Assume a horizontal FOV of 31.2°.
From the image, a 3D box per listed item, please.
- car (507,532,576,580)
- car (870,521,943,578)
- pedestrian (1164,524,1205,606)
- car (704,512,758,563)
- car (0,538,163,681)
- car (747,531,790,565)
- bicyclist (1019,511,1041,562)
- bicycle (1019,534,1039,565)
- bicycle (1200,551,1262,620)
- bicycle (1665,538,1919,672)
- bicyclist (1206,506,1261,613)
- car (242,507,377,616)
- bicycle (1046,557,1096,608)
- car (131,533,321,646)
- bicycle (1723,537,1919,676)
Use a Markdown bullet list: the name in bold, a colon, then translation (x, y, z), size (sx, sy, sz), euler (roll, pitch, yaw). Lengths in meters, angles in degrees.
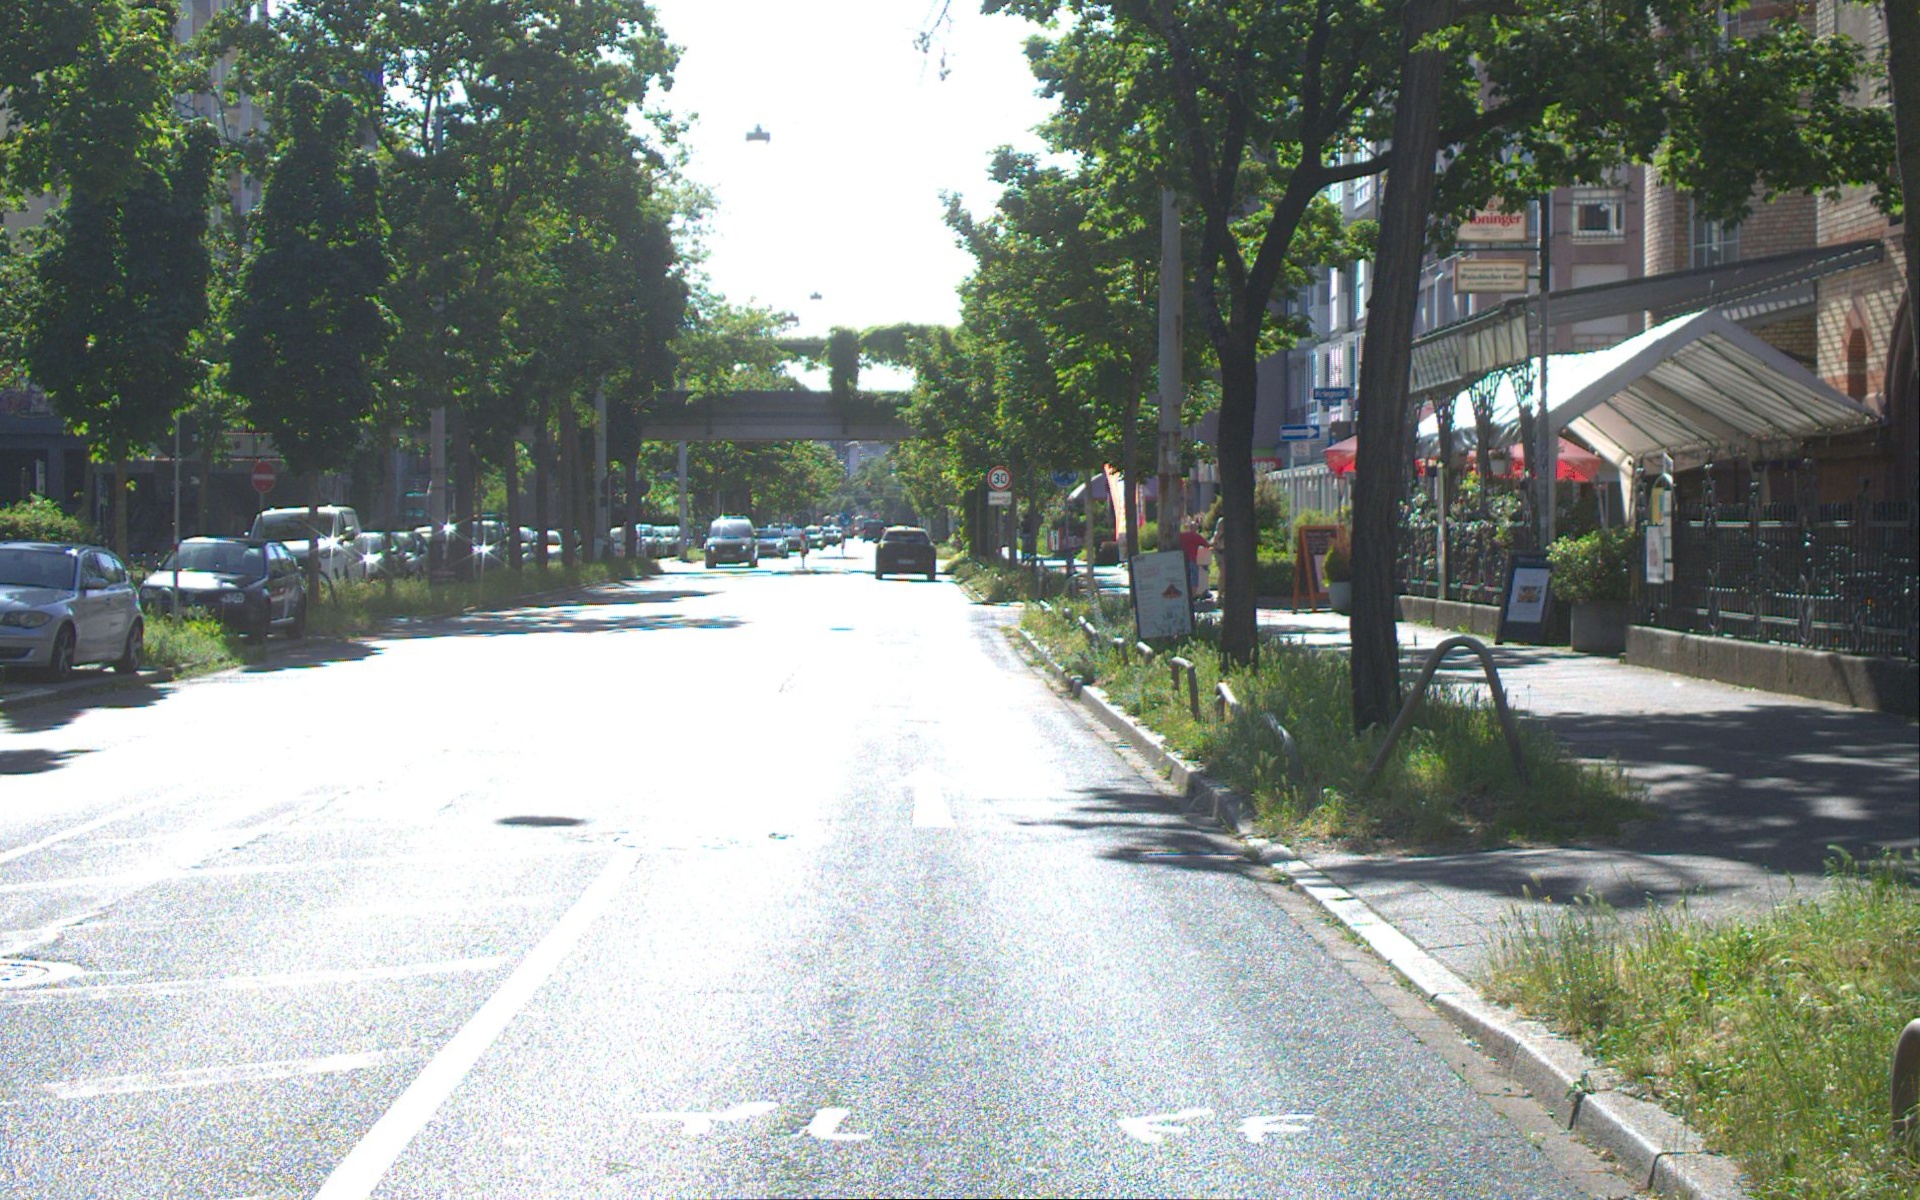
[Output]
- **car**: translation (-13.806, -1.469, 113.526), size (1.855, 1.518, 4.319), euler (1, 1, -2)
- **car**: translation (-1.582, -1.506, 100.604), size (1.984, 1.595, 4.141), euler (1, 1, -2)
- **pedestrian**: translation (4.479, -0.691, 68.505), size (0.653, 1.598, 0.603), euler (-3, 0, -7)
- **car**: translation (-8.473, -2.304, 127.402), size (1.855, 1.819, 4.610), euler (-1, 1, -2)
- **car**: translation (-9.817, 0.059, 36.319), size (1.688, 1.378, 4.191), euler (2, 1, 1)
- **car**: translation (-8.997, -2.457, 161.798), size (1.855, 1.563, 4.716), euler (-1, 1, -2)
- **bicyclist**: translation (2.376, -2.161, 117.352), size (0.667, 1.689, 0.889), euler (1, 0, -2)
- **bicycle**: translation (2.347, -1.716, 117.408), size (0.589, 1.024, 1.860), euler (1, 0, -2)
- **bicycle**: translation (4.089, -0.220, 52.002), size (0.685, 1.024, 2.096), euler (1, 0, -2)
- **bicycle**: translation (7.553, 0.045, 31.093), size (2.195, 1.174, 0.687), euler (1, 0, -7)
- **bicyclist**: translation (4.118, -0.609, 51.849), size (0.700, 1.594, 0.955), euler (1, 0, -2)
- **car**: translation (-13.012, -0.796, 69.052), size (1.981, 2.069, 5.197), euler (-1, 1, -4)
- **bicycle**: translation (2.363, -0.378, 72.866), size (0.591, 1.062, 2.021), euler (1, 1, 15)
- **car**: translation (-10.108, -0.170, 47.602), size (1.712, 1.453, 4.072), euler (2, 1, 0)
- **bicycle**: translation (7.811, 0.057, 29.873), size (2.195, 1.174, 0.687), euler (1, 0, -7)
